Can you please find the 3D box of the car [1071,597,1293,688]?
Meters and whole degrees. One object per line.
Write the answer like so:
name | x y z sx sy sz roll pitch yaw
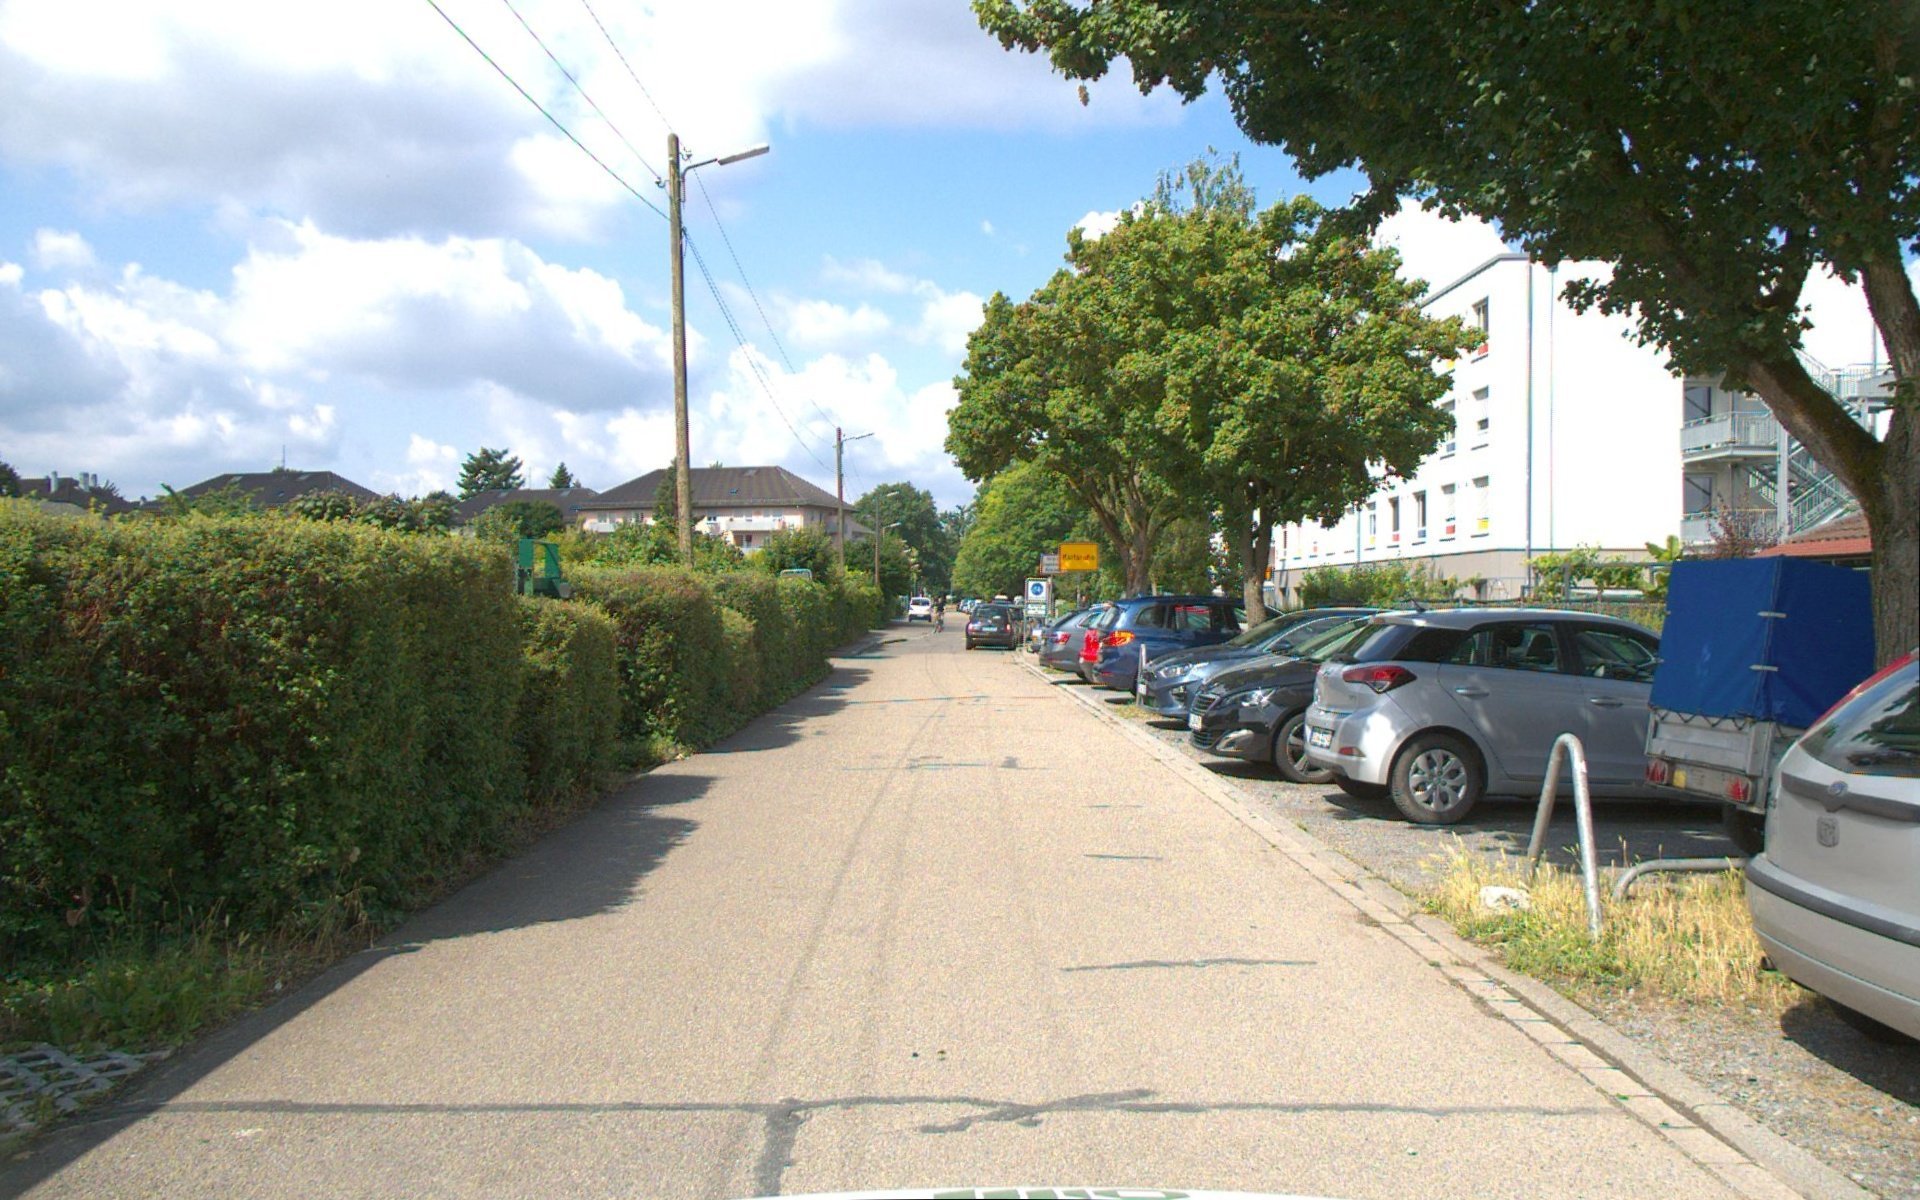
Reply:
car | 3.928 0.738 29.668 3.732 1.559 1.761 0 0 -1

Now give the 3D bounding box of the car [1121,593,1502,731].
car | 4.233 0.731 20.440 4.248 1.518 1.975 1 0 -2

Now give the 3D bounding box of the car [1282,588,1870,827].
car | 4.440 0.750 12.294 3.650 1.567 1.848 1 0 -4

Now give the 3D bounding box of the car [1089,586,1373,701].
car | 4.079 0.645 25.418 4.069 1.666 1.879 0 0 0

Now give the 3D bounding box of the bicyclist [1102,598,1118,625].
bicyclist | 10.238 0.805 112.938 0.770 1.817 0.892 1 -1 31

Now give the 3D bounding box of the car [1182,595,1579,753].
car | 4.408 0.759 17.762 3.736 1.518 1.902 1 0 -2

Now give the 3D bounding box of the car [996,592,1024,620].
car | 3.713 0.462 123.464 2.015 1.960 4.542 1 0 2

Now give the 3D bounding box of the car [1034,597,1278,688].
car | 3.746 0.809 32.073 4.457 1.606 1.808 1 0 -2

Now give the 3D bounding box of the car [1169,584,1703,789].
car | 4.151 0.736 14.934 4.215 1.622 1.999 1 0 -2

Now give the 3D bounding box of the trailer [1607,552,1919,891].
trailer | 5.218 0.644 9.428 2.402 1.750 1.517 1 1 -5

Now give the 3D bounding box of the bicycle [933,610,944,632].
bicycle | -1.187 1.156 90.169 0.507 1.170 1.827 -1 0 2

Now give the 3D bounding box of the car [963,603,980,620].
car | 1.367 1.448 204.702 1.953 2.049 3.999 1 0 -1

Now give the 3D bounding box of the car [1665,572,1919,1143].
car | 4.619 0.747 5.186 3.980 1.538 1.958 1 0 2

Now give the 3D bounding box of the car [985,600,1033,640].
car | 2.031 0.810 67.875 1.628 1.579 3.639 1 0 6

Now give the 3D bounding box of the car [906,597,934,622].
car | -3.023 0.705 125.225 1.863 1.846 4.001 1 0 2

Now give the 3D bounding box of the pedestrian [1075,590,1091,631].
pedestrian | 5.500 0.472 74.078 0.597 1.776 0.722 1 -1 13

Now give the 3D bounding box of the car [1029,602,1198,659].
car | 3.963 0.790 43.094 4.267 1.416 1.719 -1 -1 3

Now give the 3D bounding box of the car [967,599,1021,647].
car | 1.199 0.777 56.760 1.628 1.532 4.002 1 0 4

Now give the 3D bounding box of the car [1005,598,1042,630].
car | 3.001 0.678 78.835 1.629 1.460 3.541 1 0 0

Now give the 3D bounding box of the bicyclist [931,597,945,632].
bicyclist | -1.187 0.802 90.104 0.645 1.884 1.043 -1 0 1
